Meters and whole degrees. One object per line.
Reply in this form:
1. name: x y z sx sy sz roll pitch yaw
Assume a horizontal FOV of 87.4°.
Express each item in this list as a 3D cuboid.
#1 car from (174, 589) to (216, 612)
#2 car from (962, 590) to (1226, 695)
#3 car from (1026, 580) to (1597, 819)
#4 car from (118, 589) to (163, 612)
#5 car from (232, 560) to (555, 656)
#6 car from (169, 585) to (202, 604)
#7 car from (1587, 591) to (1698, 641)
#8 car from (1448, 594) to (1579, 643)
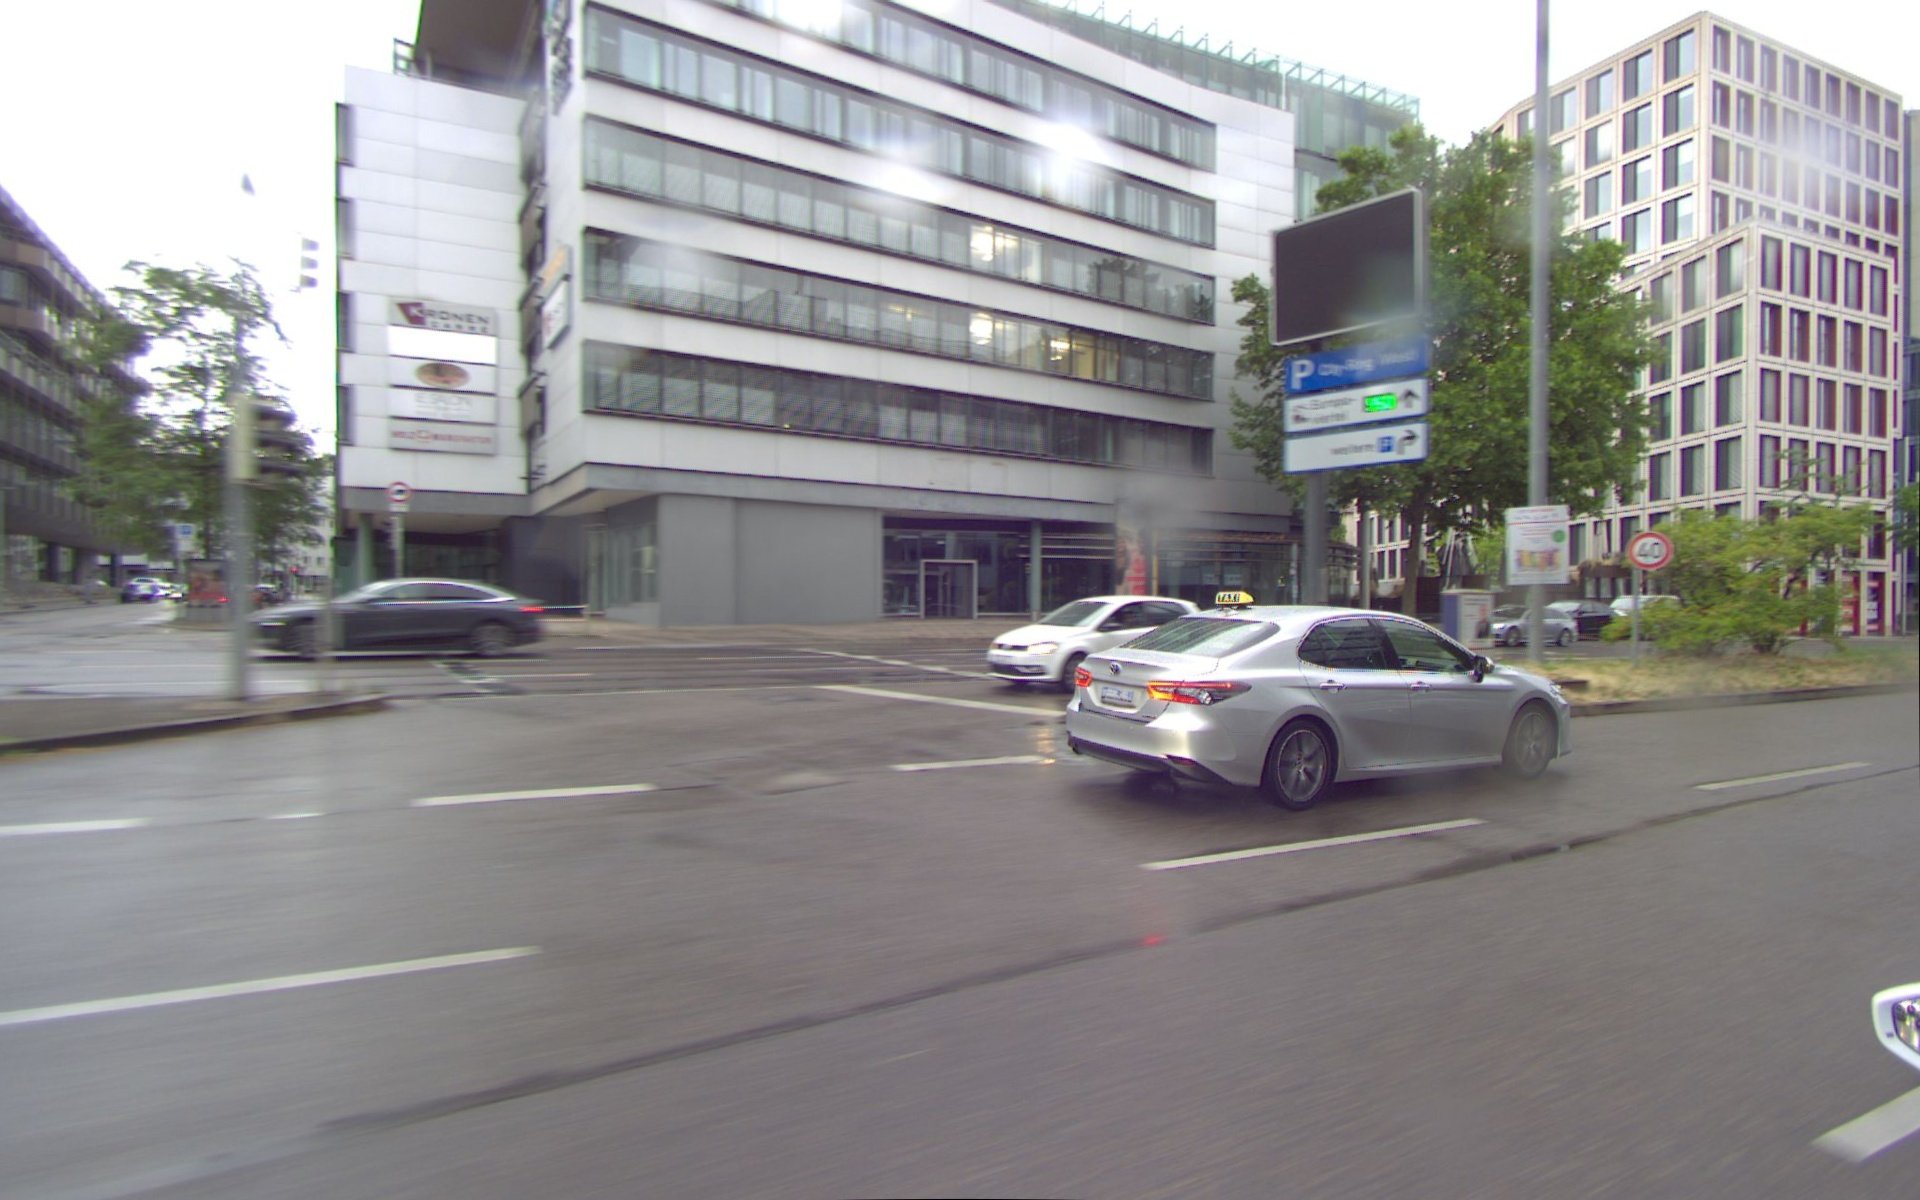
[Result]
1. car: -58.638 0.020 77.067 1.976 1.662 3.968 2 0 -30
2. car: 2.175 0.657 16.040 3.926 1.483 1.742 2 0 -31
3. car: 3.053 0.698 8.444 4.743 1.541 1.823 2 0 -29
4. car: -62.657 0.032 76.886 1.976 1.662 3.968 2 0 -30
5. car: -10.659 0.191 19.154 5.118 1.606 1.980 2 0 -35
6. car: -74.319 -0.536 96.427 1.976 1.662 3.968 2 0 -30
7. car: 30.407 0.727 44.727 4.852 2.040 1.986 2 0 -27
8. car: 19.776 0.638 35.868 4.425 1.640 1.986 0 1 -28
